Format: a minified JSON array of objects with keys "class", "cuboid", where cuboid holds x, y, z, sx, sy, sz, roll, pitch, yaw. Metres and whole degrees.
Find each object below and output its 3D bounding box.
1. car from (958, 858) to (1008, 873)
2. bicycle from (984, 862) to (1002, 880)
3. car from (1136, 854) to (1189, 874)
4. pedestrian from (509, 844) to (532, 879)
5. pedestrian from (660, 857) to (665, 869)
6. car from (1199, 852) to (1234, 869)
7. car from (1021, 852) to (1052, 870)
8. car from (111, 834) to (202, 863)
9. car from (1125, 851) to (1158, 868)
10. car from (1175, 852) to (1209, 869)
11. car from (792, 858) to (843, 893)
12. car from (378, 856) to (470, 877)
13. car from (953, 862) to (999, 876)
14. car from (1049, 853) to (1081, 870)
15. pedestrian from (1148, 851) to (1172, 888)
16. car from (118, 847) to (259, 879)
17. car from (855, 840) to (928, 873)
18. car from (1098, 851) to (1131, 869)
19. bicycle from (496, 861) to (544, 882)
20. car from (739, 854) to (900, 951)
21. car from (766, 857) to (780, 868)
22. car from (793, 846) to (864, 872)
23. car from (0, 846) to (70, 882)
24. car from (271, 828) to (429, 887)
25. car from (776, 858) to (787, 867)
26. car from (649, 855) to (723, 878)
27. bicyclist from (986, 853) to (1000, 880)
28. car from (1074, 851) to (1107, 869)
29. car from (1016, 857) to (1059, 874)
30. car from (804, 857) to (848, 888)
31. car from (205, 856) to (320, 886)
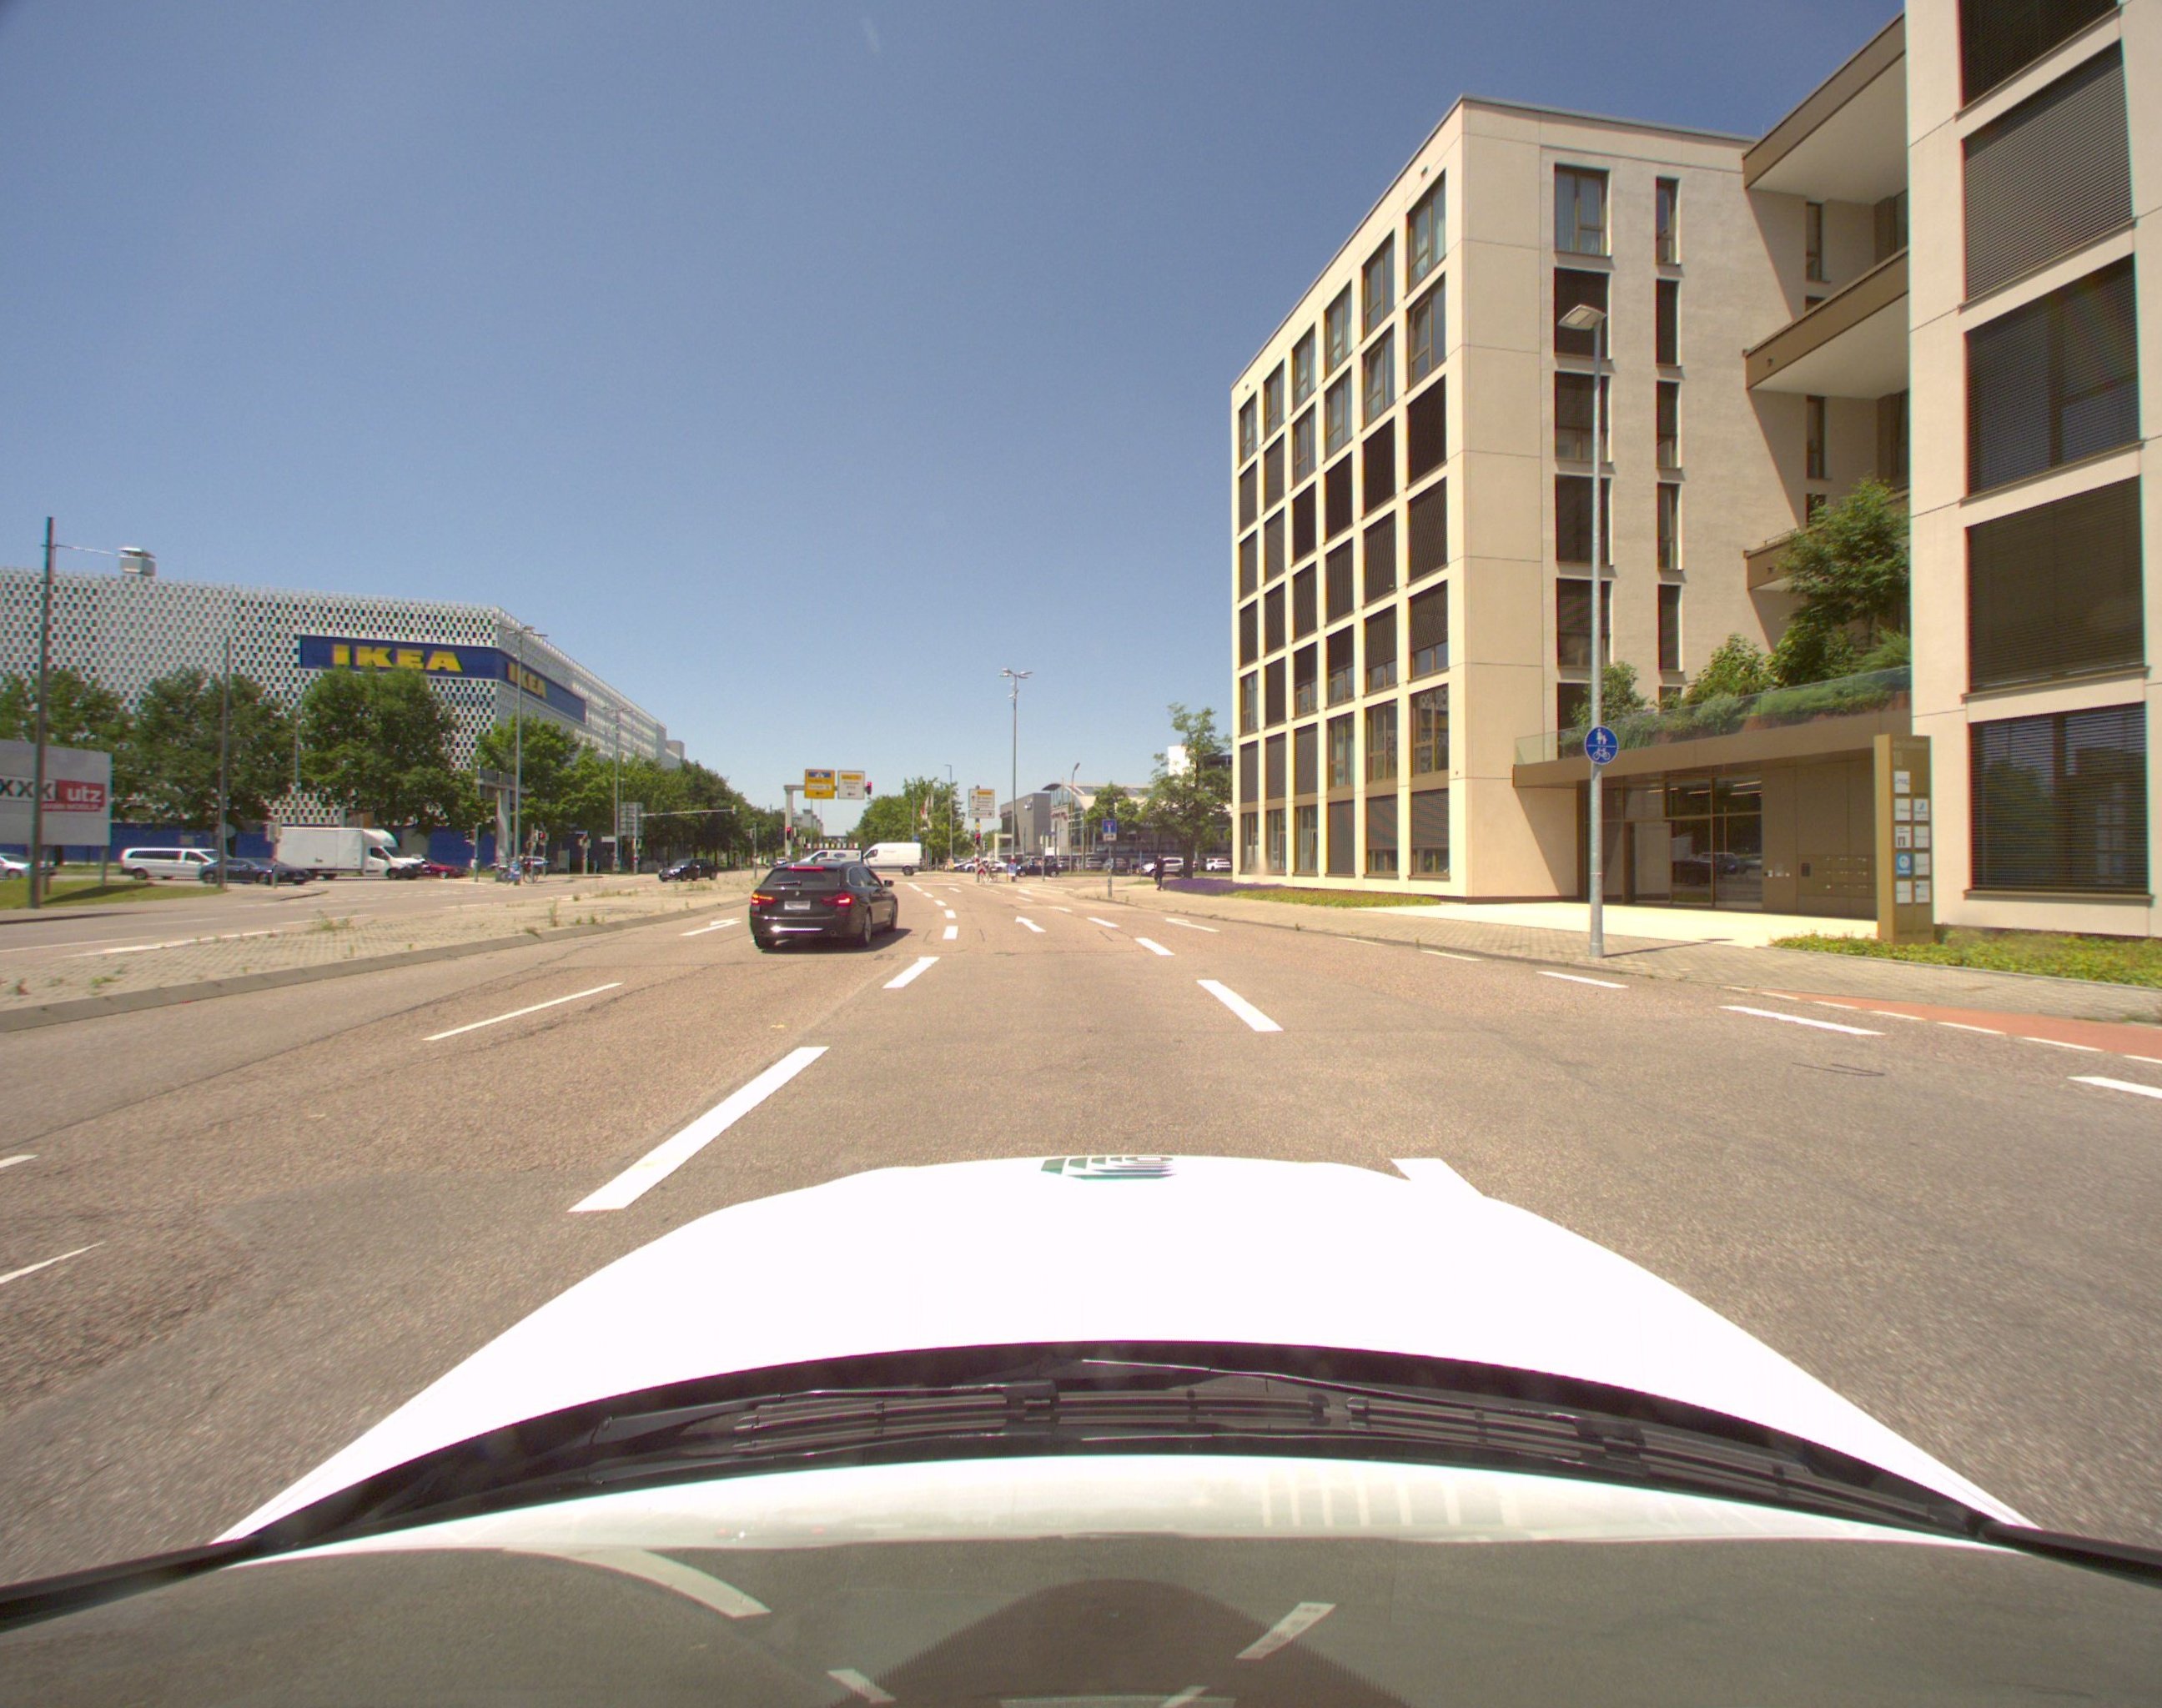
[{"class":"car","cuboid":[-9.705,1.138,80.555,4.749,1.457,1.990,0,0,-15]},{"class":"bicycle","cuboid":[-6.012,1.157,55.330,0.789,1.127,1.908,1,0,-20]},{"class":"car","cuboid":[6.897,0.834,69.206,4.190,1.652,1.711,0,0,-6]},{"class":"pedestrian","cuboid":[-32.573,0.416,47.341,0.908,2.013,0.858,0,0,-22]},{"class":"pedestrian","cuboid":[-50.655,1.059,98.602,0.462,1.482,0.481,0,-1,-12]},{"class":"car","cuboid":[13.762,0.635,83.035,1.831,1.639,4.450,0,1,-16]},{"class":"car","cuboid":[-4.264,0.663,77.734,1.998,1.639,4.245,0,0,-16]},{"class":"car","cuboid":[-69.351,-0.395,61.142,3.995,2.014,1.989,1,-1,-16]},{"class":"car","cuboid":[5.969,0.520,80.786,1.831,1.639,4.450,0,1,-16]},{"class":"car","cuboid":[11.151,0.604,82.108,1.831,1.639,4.450,0,1,-16]},{"class":"car","cuboid":[-10.986,0.853,34.210,1.751,1.390,4.511,0,0,-14]},{"class":"car","cuboid":[-43.097,0.812,53.518,4.290,1.342,1.767,0,1,-15]},{"class":"car","cuboid":[-11.727,1.662,90.826,4.754,1.457,1.988,0,0,-18]},{"class":"car","cuboid":[-1.577,0.697,78.441,1.998,1.639,4.533,0,0,-16]},{"class":"pedestrian","cuboid":[4.001,0.789,41.154,0.873,1.845,0.764,-1,0,-43]},{"class":"car","cuboid":[-52.866,0.505,48.367,5.459,1.811,1.992,0,0,-13]},{"class":"car","cuboid":[-15.413,0.243,66.456,5.482,2.567,1.996,1,-1,-6]},{"class":"car","cuboid":[3.232,0.581,79.797,1.889,1.639,4.500,0,1,-16]},{"class":"bicycle","cuboid":[-32.575,1.012,47.328,2.101,1.213,0.989,0,0,-22]},{"class":"car","cuboid":[-4.632,0.765,15.167,1.797,1.466,4.615,-1,0,-5]},{"class":"car","cuboid":[-54.607,1.519,144.291,1.999,1.747,3.976,1,-1,-18]},{"class":"car","cuboid":[-18.559,0.393,59.919,4.845,1.850,1.823,1,-1,-23]},{"class":"car","cuboid":[-61.516,0.568,46.317,4.705,2.014,1.990,0,-1,-15]},{"class":"car","cuboid":[-44.812,0.189,50.137,6.915,3.486,2.172,0,1,-16]},{"class":"car","cuboid":[-61.155,1.779,166.123,1.805,1.853,3.977,2,-1,-17]},{"class":"car","cuboid":[-24.717,0.778,51.102,1.840,1.302,3.914,-1,0,22]},{"class":"bicyclist","cuboid":[-5.968,0.850,55.128,0.736,1.749,0.748,2,0,-21]},{"class":"car","cuboid":[0.888,0.569,79.201,1.998,1.639,4.417,0,1,-16]},{"class":"car","cuboid":[-3.599,0.936,67.008,3.367,1.357,1.619,1,0,-9]},{"class":"car","cuboid":[-12.814,0.901,40.825,1.805,1.494,3.971,1,0,-22]},{"class":"car","cuboid":[-43.842,0.895,43.706,3.983,1.508,1.928,0,0,-7]}]
